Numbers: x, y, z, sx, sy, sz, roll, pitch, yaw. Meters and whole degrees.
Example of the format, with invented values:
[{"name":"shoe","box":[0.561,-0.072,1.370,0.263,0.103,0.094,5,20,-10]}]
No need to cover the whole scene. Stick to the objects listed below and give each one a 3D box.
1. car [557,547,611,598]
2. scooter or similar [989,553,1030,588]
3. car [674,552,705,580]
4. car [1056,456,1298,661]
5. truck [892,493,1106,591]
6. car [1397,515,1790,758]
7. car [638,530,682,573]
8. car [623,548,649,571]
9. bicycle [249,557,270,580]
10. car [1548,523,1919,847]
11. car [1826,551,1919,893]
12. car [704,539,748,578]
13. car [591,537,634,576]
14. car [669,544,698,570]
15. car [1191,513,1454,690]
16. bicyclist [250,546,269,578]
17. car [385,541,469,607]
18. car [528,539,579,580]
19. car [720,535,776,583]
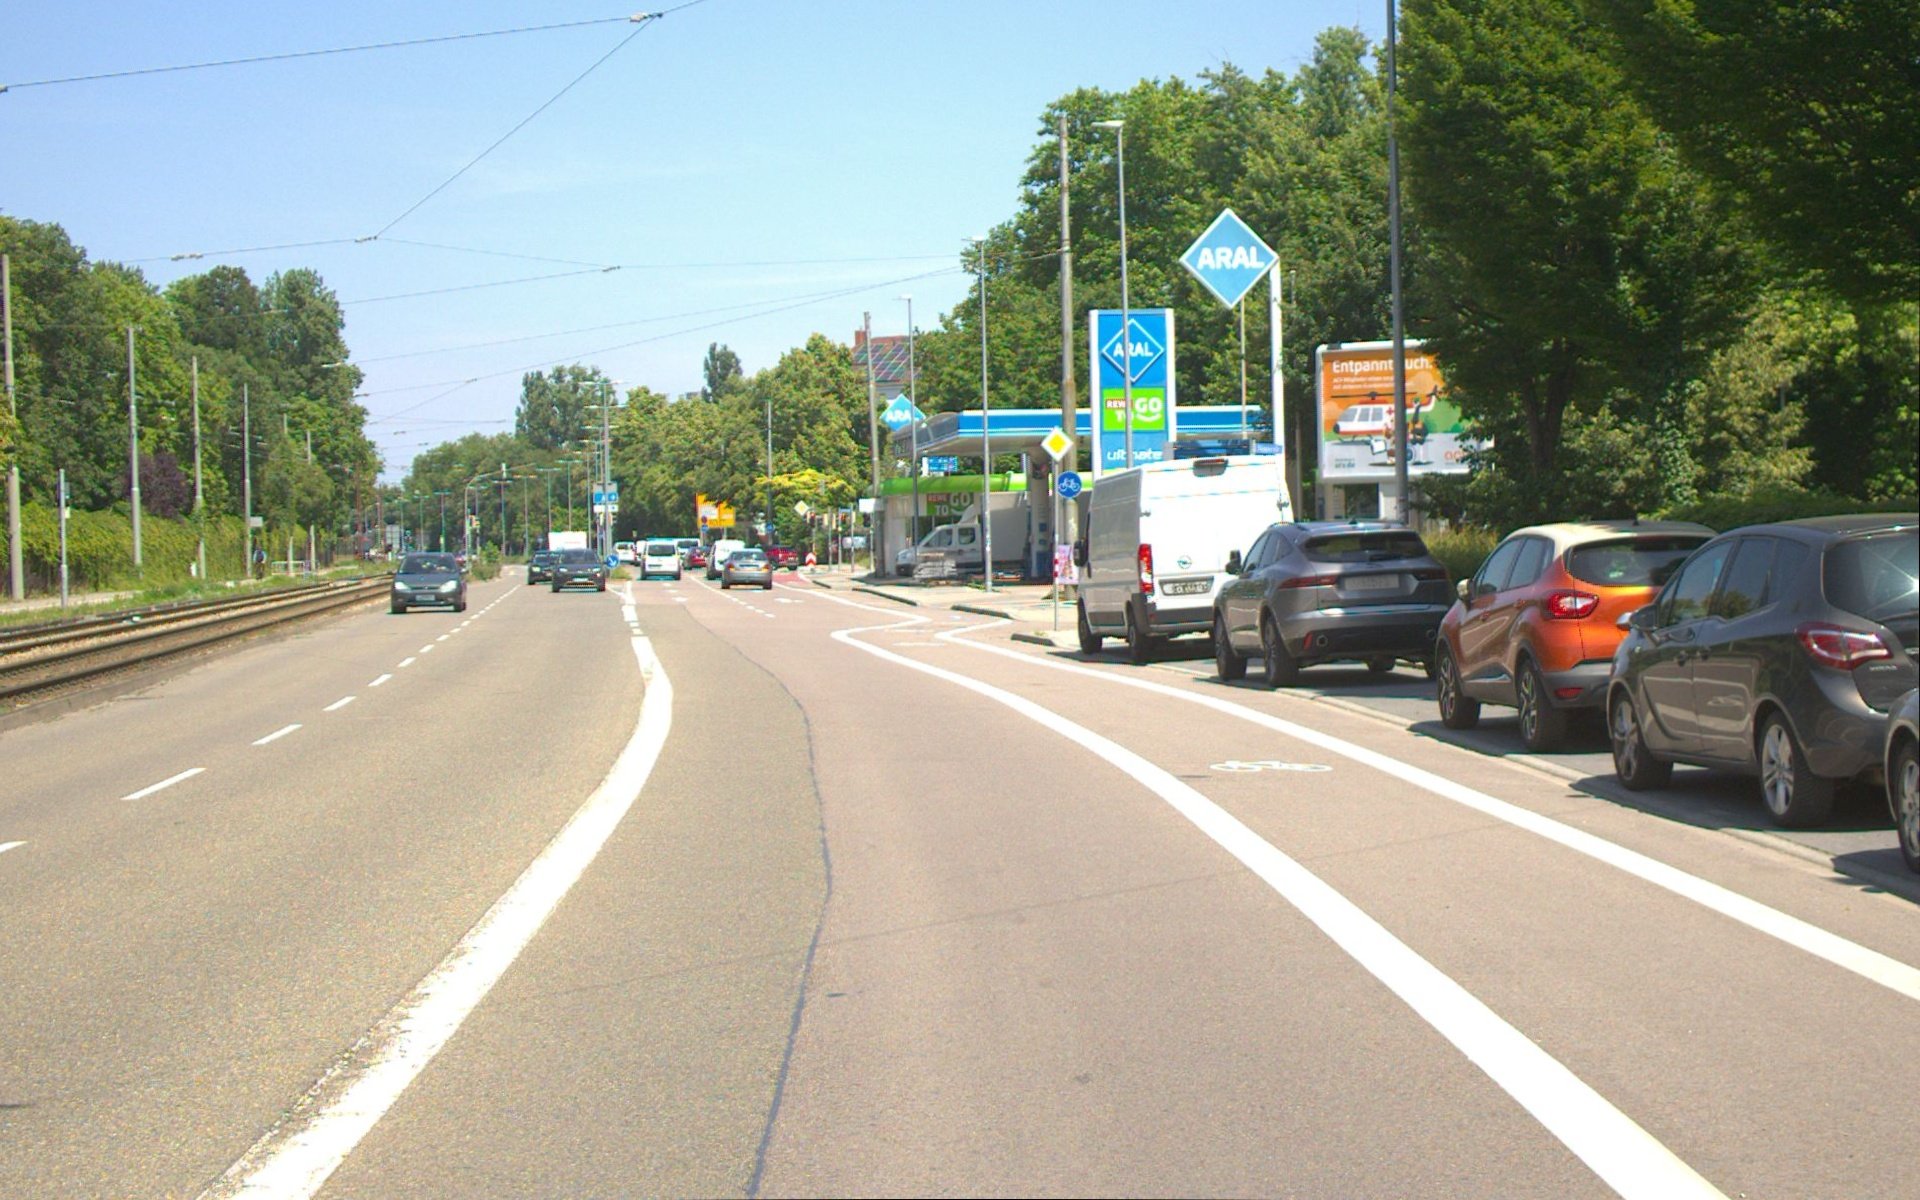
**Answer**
[{"name":"car","box":[-12.952,-0.967,118.458,1.755,1.625,4.325,-3,1,-6]},{"name":"scooter or similar","box":[1.922,-1.159,133.754,1.552,1.323,0.537,-1,1,-7]},{"name":"car","box":[-16.917,-2.145,214.912,1.755,1.625,4.325,-3,1,-6]},{"name":"car","box":[2.777,-0.561,45.593,2.000,2.448,6.111,-3,1,-7]},{"name":"truck","box":[1.457,-2.204,129.732,7.967,3.590,2.663,0,1,0]},{"name":"car","box":[4.557,0.206,25.375,1.706,1.557,4.325,-3,1,-5]},{"name":"car","box":[-13.518,-2.189,154.771,1.755,1.868,4.325,-3,1,-6]},{"name":"car","box":[-23.879,-3.011,253.493,1.755,1.625,4.325,-3,1,-6]},{"name":"bicycle","box":[-35.129,-1.571,172.524,0.681,1.050,2.009,-5,0,-4]},{"name":"car","box":[4.793,0.383,19.438,1.706,1.557,4.325,-3,1,-6]},{"name":"car","box":[5.101,0.535,14.093,1.706,1.487,4.732,-3,1,-2]},{"name":"car","box":[-10.635,-1.894,156.007,1.755,1.625,4.325,-3,1,-6]},{"name":"car","box":[-15.383,-1.948,152.280,1.755,1.625,4.325,-3,1,-4]},{"name":"car","box":[-18.665,-2.908,231.640,1.755,1.625,4.325,-3,1,-6]},{"name":"car","box":[3.656,-0.020,35.416,1.755,1.625,4.325,-3,1,-6]},{"name":"bicyclist","box":[-35.157,-1.895,172.530,0.681,1.569,0.795,-5,0,-4]},{"name":"car","box":[-13.045,-0.654,84.347,1.755,1.504,4.325,-3,1,-6]},{"name":"car","box":[-17.198,-1.708,145.278,1.755,1.625,4.325,-3,1,-11]},{"name":"car","box":[-7.810,-1.522,126.426,1.755,1.625,4.325,-3,1,-6]}]
